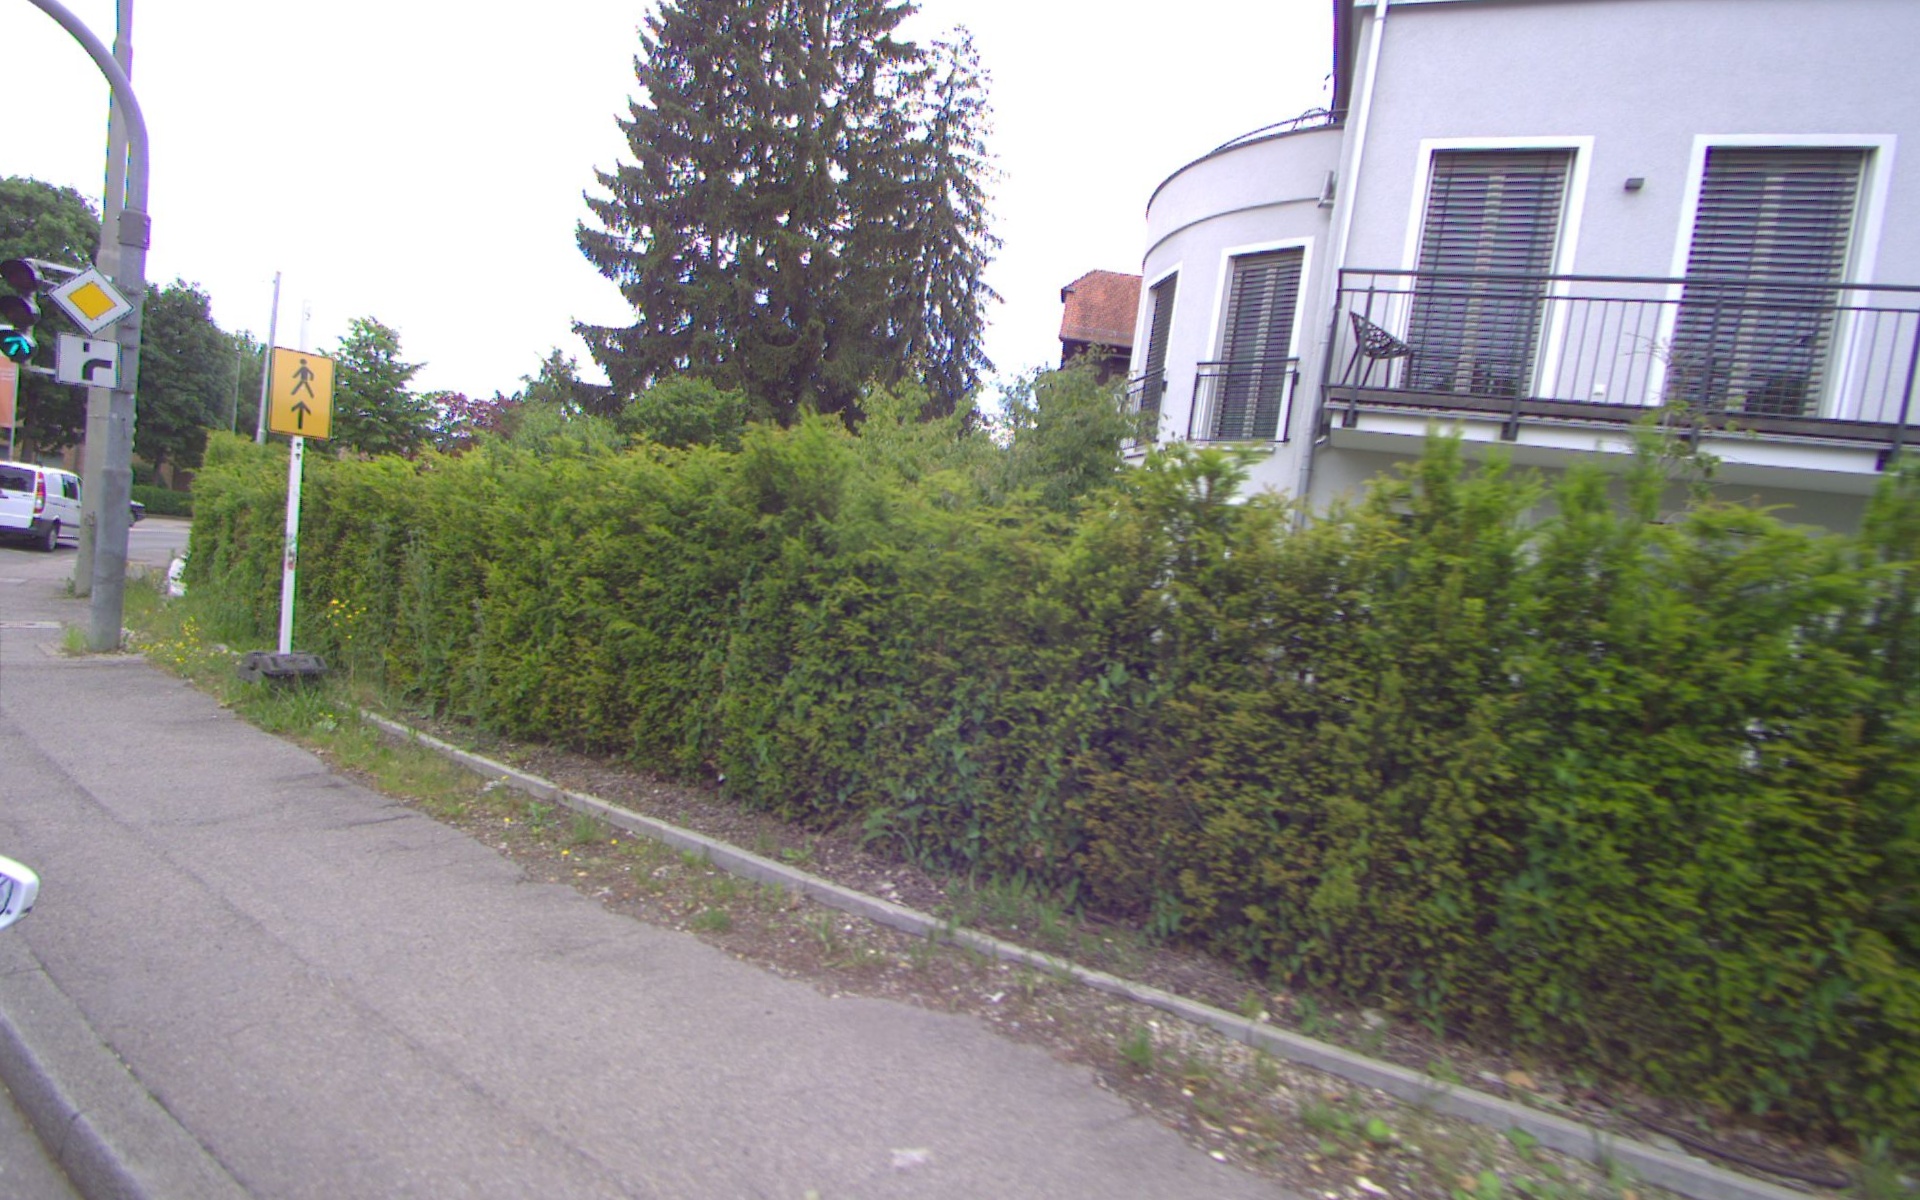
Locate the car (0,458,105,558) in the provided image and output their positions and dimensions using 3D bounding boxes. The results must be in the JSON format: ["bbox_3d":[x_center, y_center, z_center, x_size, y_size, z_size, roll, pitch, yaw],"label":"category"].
[{"bbox_3d":[-22.062,-2.210,23.666,1.947,2.037,4.394,9,0,-29],"label":"car"}]
